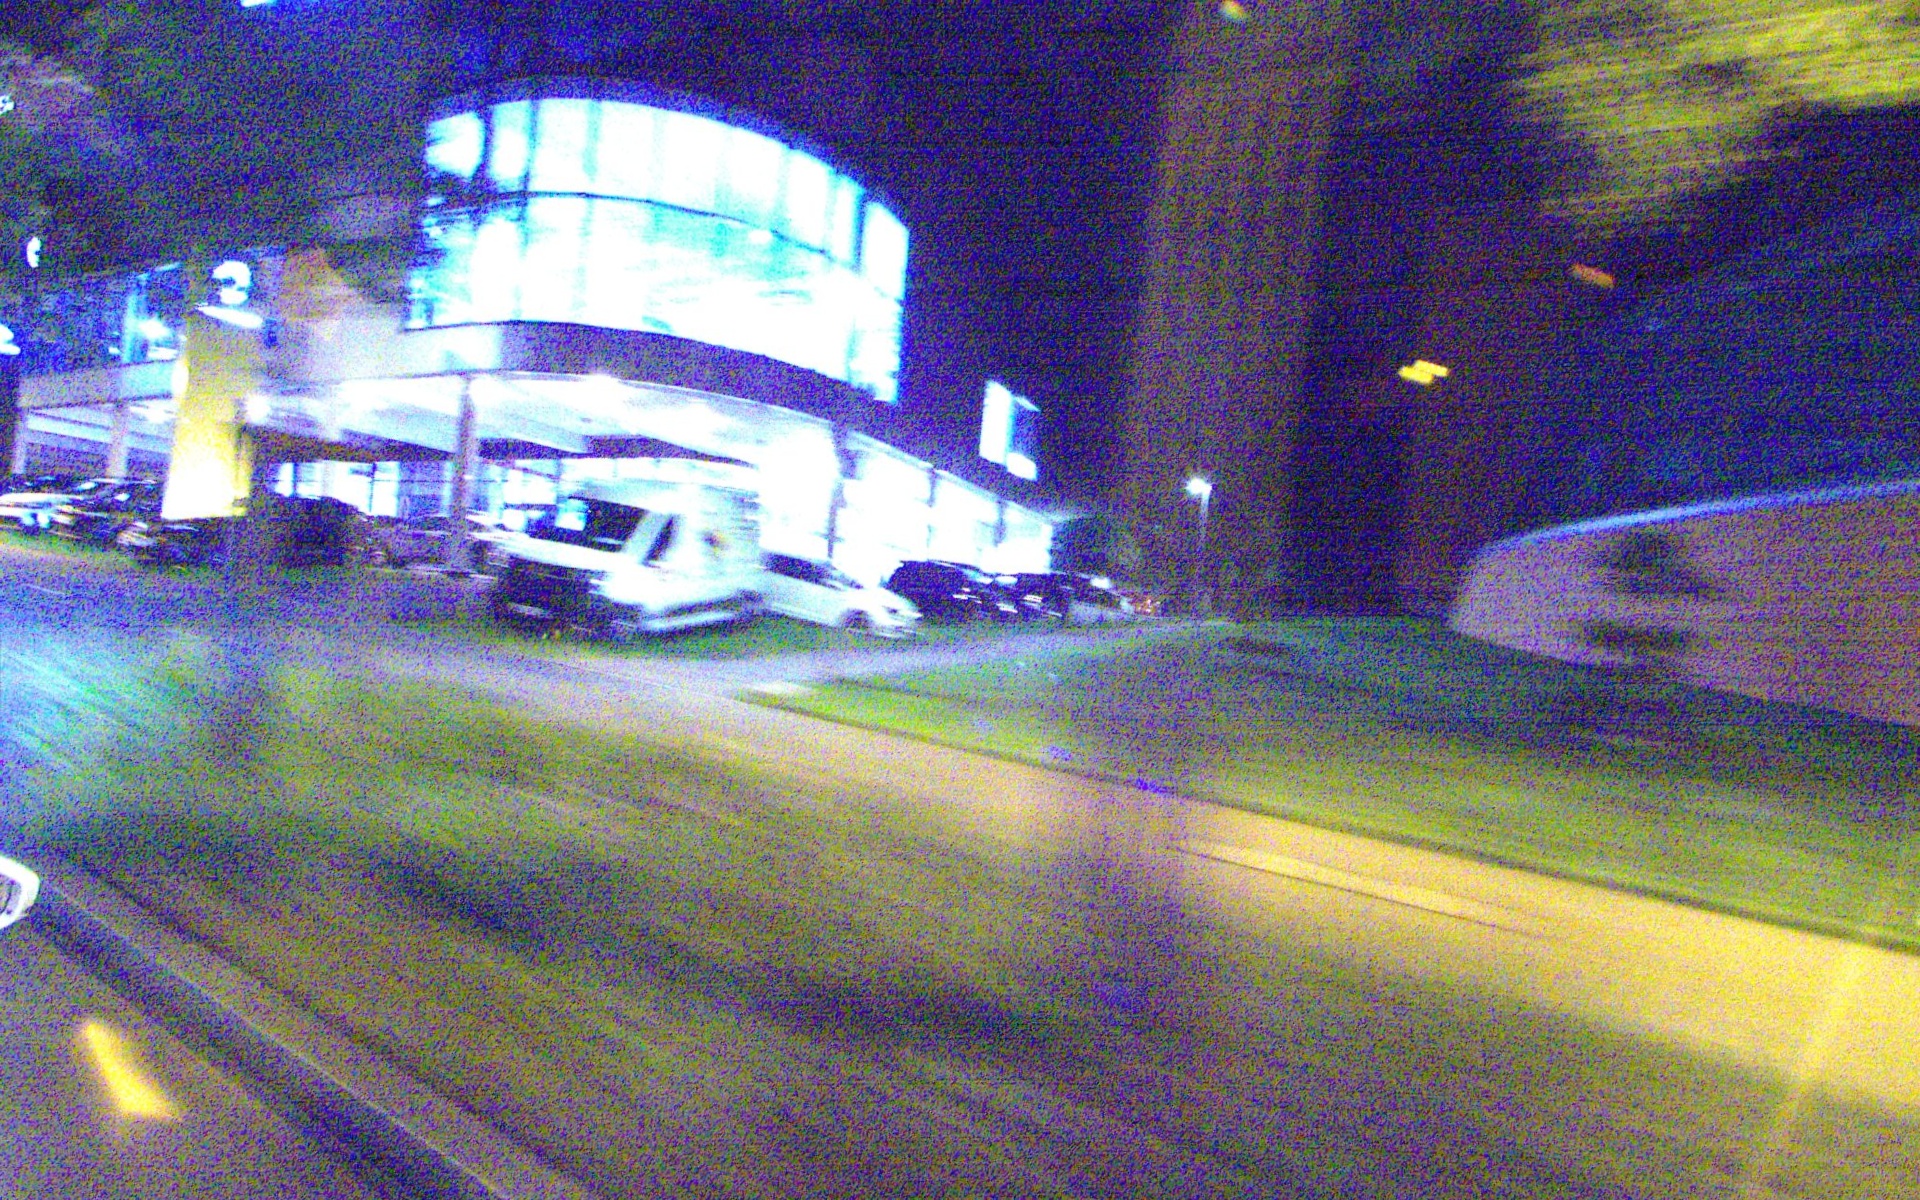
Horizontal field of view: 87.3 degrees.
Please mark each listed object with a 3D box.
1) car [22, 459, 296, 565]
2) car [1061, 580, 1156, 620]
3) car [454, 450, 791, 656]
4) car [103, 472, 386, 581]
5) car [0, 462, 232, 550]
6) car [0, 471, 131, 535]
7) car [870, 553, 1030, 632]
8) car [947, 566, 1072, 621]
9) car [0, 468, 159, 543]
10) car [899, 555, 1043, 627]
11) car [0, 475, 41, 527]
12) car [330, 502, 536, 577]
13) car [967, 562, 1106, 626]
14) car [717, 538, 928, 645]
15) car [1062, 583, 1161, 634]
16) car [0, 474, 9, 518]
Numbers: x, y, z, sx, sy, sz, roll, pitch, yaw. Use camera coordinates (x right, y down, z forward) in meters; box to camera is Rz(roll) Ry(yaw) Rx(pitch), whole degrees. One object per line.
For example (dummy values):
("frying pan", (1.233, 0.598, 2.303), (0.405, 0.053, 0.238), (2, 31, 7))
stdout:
("car", (-18.118, -1.914, 23.049), (1.963, 1.834, 4.471), (7, 2, 19))
("car", (6.358, 0.022, 43.221), (3.891, 1.413, 1.665), (4, -1, 9))
("car", (-5.118, -0.779, 16.545), (2.240, 2.565, 6.027), (7, 4, 13))
("car", (-14.117, -1.381, 20.158), (1.924, 1.685, 4.212), (7, 2, 19))
("car", (-20.562, -2.217, 24.313), (1.963, 1.711, 4.467), (7, 4, 19))
("car", (-25.748, -2.706, 27.521), (1.737, 1.569, 4.466), (6, 3, 21))
("car", (-0.217, -0.204, 26.791), (3.892, 1.598, 1.799), (7, 2, 8))
("car", (1.648, -0.205, 32.596), (3.804, 1.353, 1.657), (6, 1, 8))
("car", (-23.053, -2.403, 25.383), (1.820, 1.590, 4.087), (7, 3, 19))
("car", (0.371, -0.298, 29.475), (3.892, 1.624, 1.780), (6, 5, 8))
("car", (-30.253, -3.133, 30.026), (1.685, 1.472, 3.811), (7, 2, 16))
("car", (-13.634, -1.546, 26.239), (4.367, 1.531, 1.716), (4, 2, -9))
("car", (2.725, -0.197, 35.207), (4.578, 1.682, 2.002), (6, -1, 8))
("car", (-2.812, -0.186, 21.037), (3.892, 1.735, 1.810), (6, 2, 8))
("car", (6.165, 0.332, 41.141), (3.637, 1.621, 1.734), (6, 5, -1))
("car", (-32.336, -3.417, 31.218), (1.684, 1.398, 3.774), (6, 3, 17))
